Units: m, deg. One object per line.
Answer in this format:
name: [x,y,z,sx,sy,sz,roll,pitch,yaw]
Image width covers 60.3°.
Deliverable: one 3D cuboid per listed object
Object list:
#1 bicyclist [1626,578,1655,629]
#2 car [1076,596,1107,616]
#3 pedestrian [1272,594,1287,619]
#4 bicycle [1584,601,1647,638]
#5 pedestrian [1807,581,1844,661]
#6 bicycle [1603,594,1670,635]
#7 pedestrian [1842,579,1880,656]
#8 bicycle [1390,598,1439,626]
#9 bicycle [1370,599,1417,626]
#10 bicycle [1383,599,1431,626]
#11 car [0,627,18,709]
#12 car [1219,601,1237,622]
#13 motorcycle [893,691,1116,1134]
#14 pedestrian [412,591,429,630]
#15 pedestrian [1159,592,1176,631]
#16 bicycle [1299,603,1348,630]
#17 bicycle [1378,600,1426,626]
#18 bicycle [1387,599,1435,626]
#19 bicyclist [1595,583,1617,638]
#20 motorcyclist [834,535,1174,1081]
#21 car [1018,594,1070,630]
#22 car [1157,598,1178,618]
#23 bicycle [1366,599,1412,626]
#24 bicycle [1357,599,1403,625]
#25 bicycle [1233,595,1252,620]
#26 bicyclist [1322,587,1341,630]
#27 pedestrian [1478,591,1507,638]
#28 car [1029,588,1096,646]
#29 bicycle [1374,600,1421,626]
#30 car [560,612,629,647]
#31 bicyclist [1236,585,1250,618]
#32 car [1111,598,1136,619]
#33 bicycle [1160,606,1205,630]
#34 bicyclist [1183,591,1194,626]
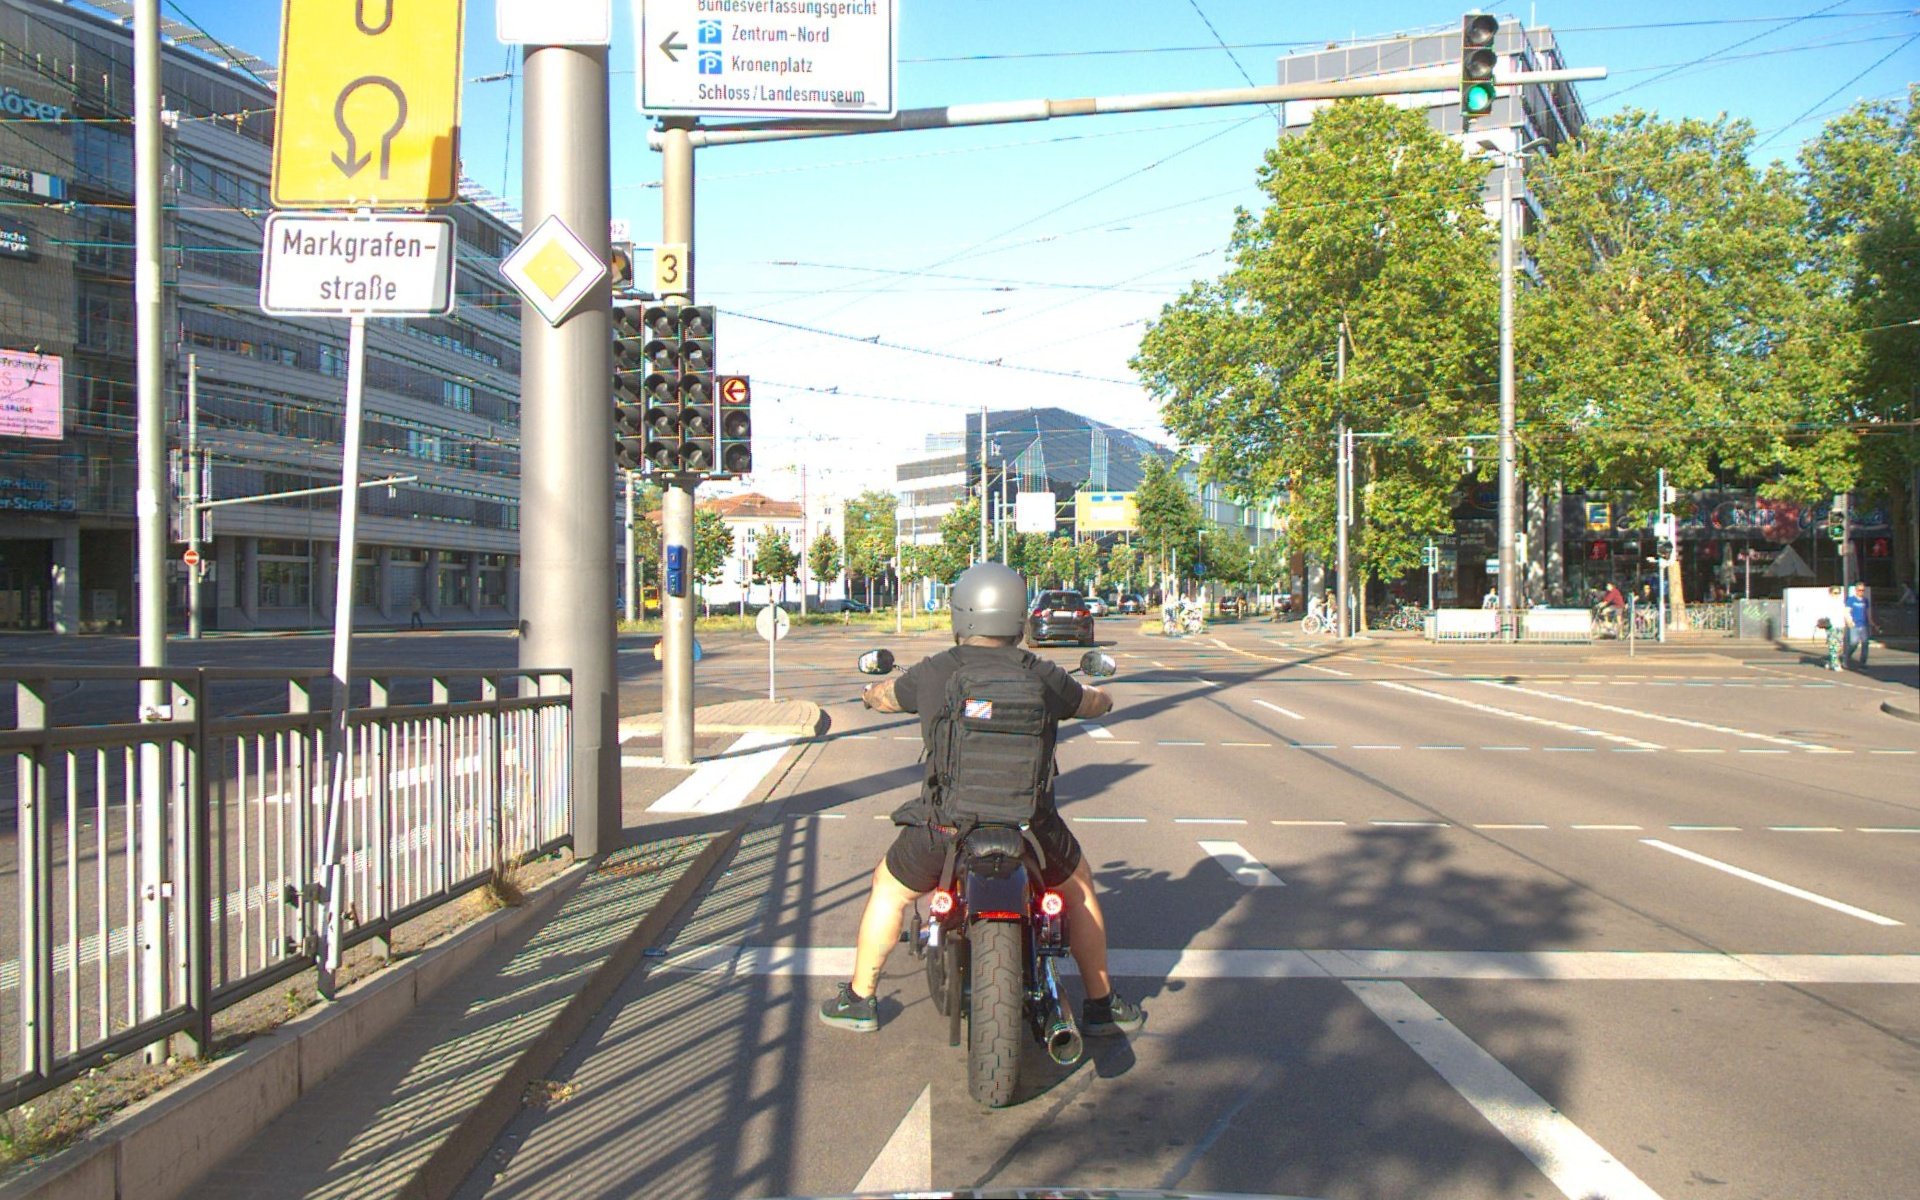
bicyclist: [20.899,0.116,50.812,0.624,1.545,0.562,1,-1,-28]
car: [10.056,0.436,126.315,1.765,1.455,4.457,0,0,12]
pedestrian: [17.576,0.366,90.961,0.802,1.337,0.638,1,-1,8]
bicycle: [22.554,0.683,56.916,2.001,1.235,0.421,1,-1,-1]
pedestrian: [17.281,0.420,33.036,0.554,1.559,0.702,1,-1,20]
bicycle: [20.764,0.438,50.731,2.295,1.199,0.563,2,-1,-28]
pedestrian: [17.869,0.341,32.812,0.554,1.505,0.702,1,-1,20]
bicycle: [18.139,0.474,65.990,1.842,1.065,0.360,1,-1,-2]
bicycle: [18.154,0.530,69.262,1.842,1.064,0.360,1,0,-2]
bicycle: [18.263,0.517,67.591,1.842,1.065,0.360,1,-1,-2]
car: [-14.499,0.902,22.393,2.835,1.081,1.235,1,-1,-22]
car: [24.703,1.057,152.514,1.497,1.870,3.578,1,-1,12]
motorcycle: [0.105,0.911,5.598,0.588,1.054,2.233,1,0,-1]
pedestrian: [-28.708,0.550,87.967,0.617,2.049,0.754,1,-1,-1]
pedestrian: [8.644,0.483,68.827,0.576,1.584,0.488,1,-1,-9]
bicycle: [14.388,0.667,65.447,1.831,1.062,0.537,0,-1,18]
bicycle: [18.212,0.533,68.146,1.842,1.064,0.360,1,0,-2]
bicycle: [18.208,0.495,66.775,1.842,1.065,0.360,1,-1,-2]
bicyclist: [22.239,0.363,56.921,0.572,1.870,0.402,1,-1,-1]
motorcyclist: [0.125,0.615,5.366,1.009,1.621,0.873,0,0,-1]
car: [3.431,0.475,68.339,1.767,1.455,4.451,0,0,-2]
car: [19.477,0.781,155.313,1.692,1.870,3.578,1,-1,12]
bicycle: [18.098,0.527,69.761,1.842,1.064,0.360,1,0,-2]
bicycle: [18.006,0.526,70.910,1.842,1.064,0.360,1,0,-2]
bicycle: [16.308,0.436,95.476,0.710,1.391,2.918,1,-1,3]
bicyclist: [14.669,0.344,65.357,0.673,1.702,0.541,0,-1,18]
pedestrian: [19.650,0.540,61.010,0.816,1.734,0.759,1,-1,-1]
car: [3.078,0.477,49.042,1.765,1.623,4.456,0,0,6]
bicycle: [18.186,0.538,68.777,1.842,1.065,0.360,1,-1,-2]
car: [-17.256,1.387,78.274,1.712,1.550,4.003,1,-1,11]
bicyclist: [16.316,0.086,95.397,0.682,1.840,0.729,1,-1,3]
car: [13.987,0.745,141.086,1.765,1.708,4.044,1,-1,11]
bicycle: [9.037,0.718,67.197,1.792,0.942,0.357,1,-1,-9]
bicyclist: [9.293,0.356,67.236,0.374,1.397,0.344,1,-1,-9]
